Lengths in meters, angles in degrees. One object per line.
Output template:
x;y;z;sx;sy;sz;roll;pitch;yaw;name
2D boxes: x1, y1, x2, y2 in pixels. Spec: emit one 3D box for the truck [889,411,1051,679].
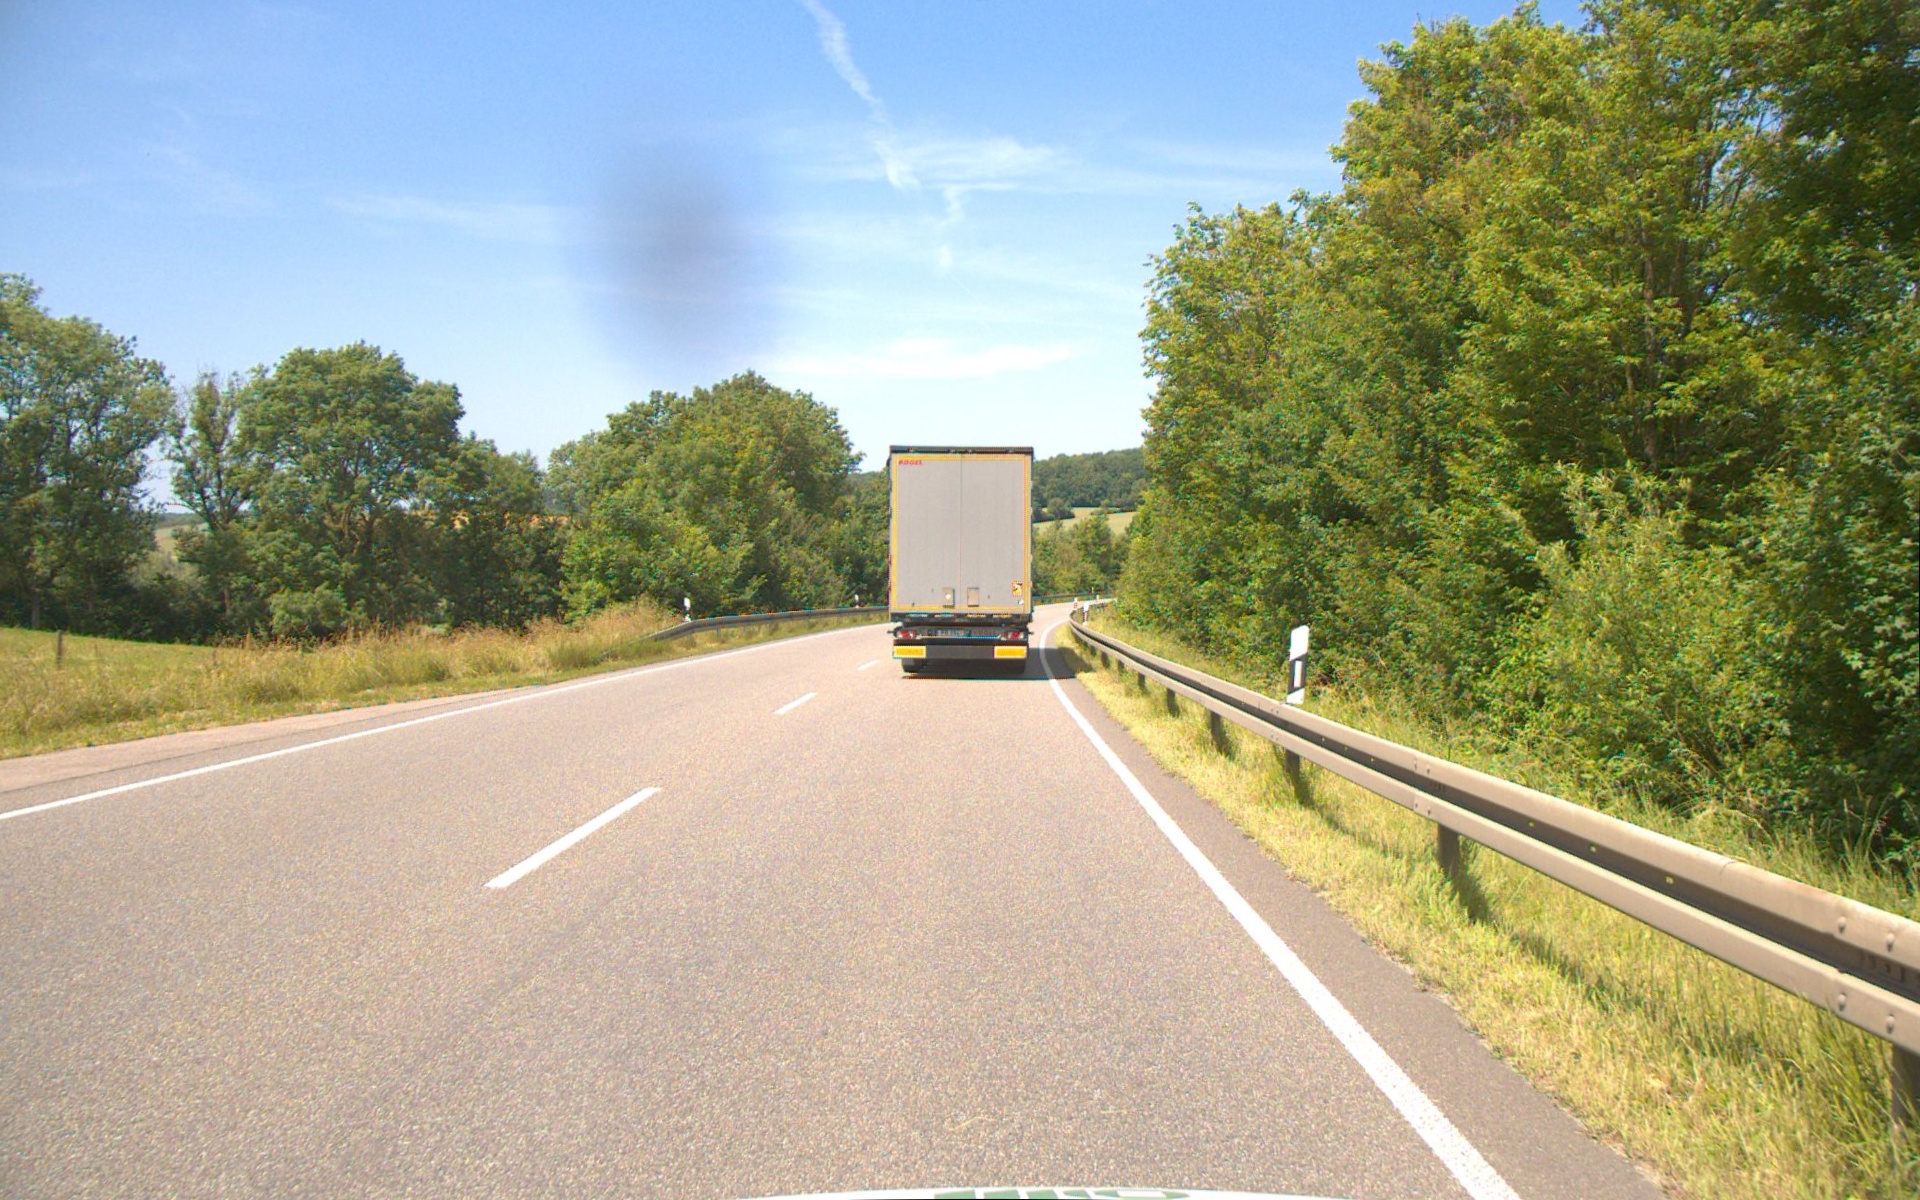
0.262;-0.980;34.471;2.759;4.612;11.769;1;0;1;truck
